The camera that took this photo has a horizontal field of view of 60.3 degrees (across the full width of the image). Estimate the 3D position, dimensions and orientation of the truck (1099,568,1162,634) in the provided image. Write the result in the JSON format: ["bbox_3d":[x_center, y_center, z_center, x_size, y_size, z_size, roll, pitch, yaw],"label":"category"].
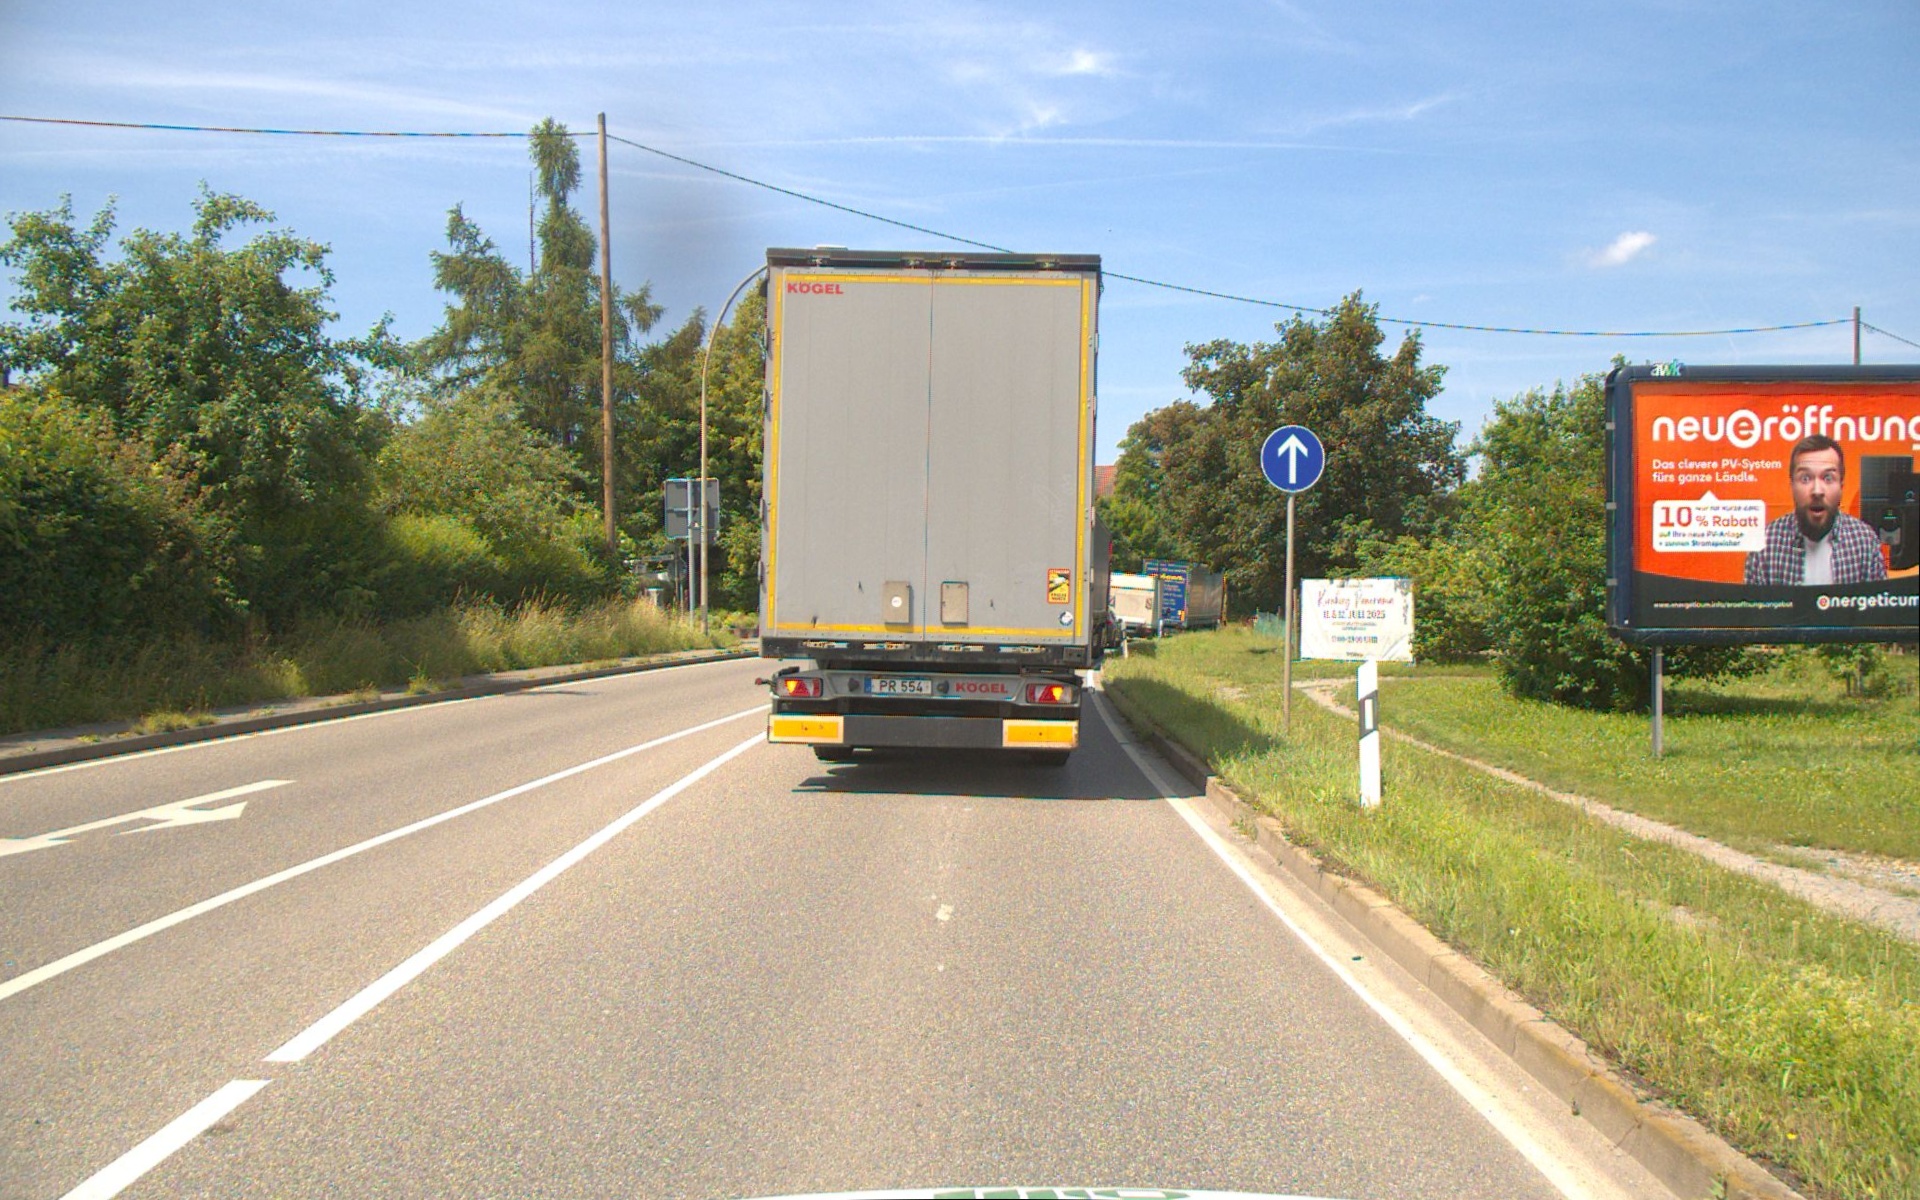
[{"bbox_3d":[7.903,0.016,76.188,2.369,2.888,5.417,1,1,11],"label":"truck"}]

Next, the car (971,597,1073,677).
[{"bbox_3d":[1.393,0.755,35.604,1.951,1.556,4.003,1,1,5],"label":"car"}]

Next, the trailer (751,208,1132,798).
[{"bbox_3d":[0.087,-0.779,18.169,2.729,4.278,12.115,1,1,2],"label":"trailer"}]

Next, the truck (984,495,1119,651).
[{"bbox_3d":[3.095,-0.819,53.501,3.853,4.655,7.157,1,0,7],"label":"truck"}]

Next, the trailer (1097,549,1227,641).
[{"bbox_3d":[11.692,-0.330,93.501,5.069,4.709,15.907,1,1,15],"label":"trailer"}]

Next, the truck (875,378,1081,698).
[{"bbox_3d":[0.385,-0.869,25.168,2.688,4.238,6.145,1,1,3],"label":"truck"}]

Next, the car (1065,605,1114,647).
[{"bbox_3d":[5.104,0.994,64.744,1.802,1.512,4.003,1,1,6],"label":"car"}]

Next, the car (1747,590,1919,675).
[{"bbox_3d":[22.620,0.813,42.456,3.902,2.049,2.002,1,0,6],"label":"car"}]

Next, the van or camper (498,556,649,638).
[{"bbox_3d":[-13.574,-0.115,58.320,4.757,2.762,2.197,1,0,-1],"label":"van or camper"}]

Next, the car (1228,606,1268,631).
[{"bbox_3d":[20.264,1.281,116.425,1.953,1.713,3.999,1,1,23],"label":"car"}]

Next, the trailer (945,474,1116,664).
[{"bbox_3d":[2.297,-0.761,46.632,3.808,4.600,12.722,1,0,7],"label":"trailer"}]
